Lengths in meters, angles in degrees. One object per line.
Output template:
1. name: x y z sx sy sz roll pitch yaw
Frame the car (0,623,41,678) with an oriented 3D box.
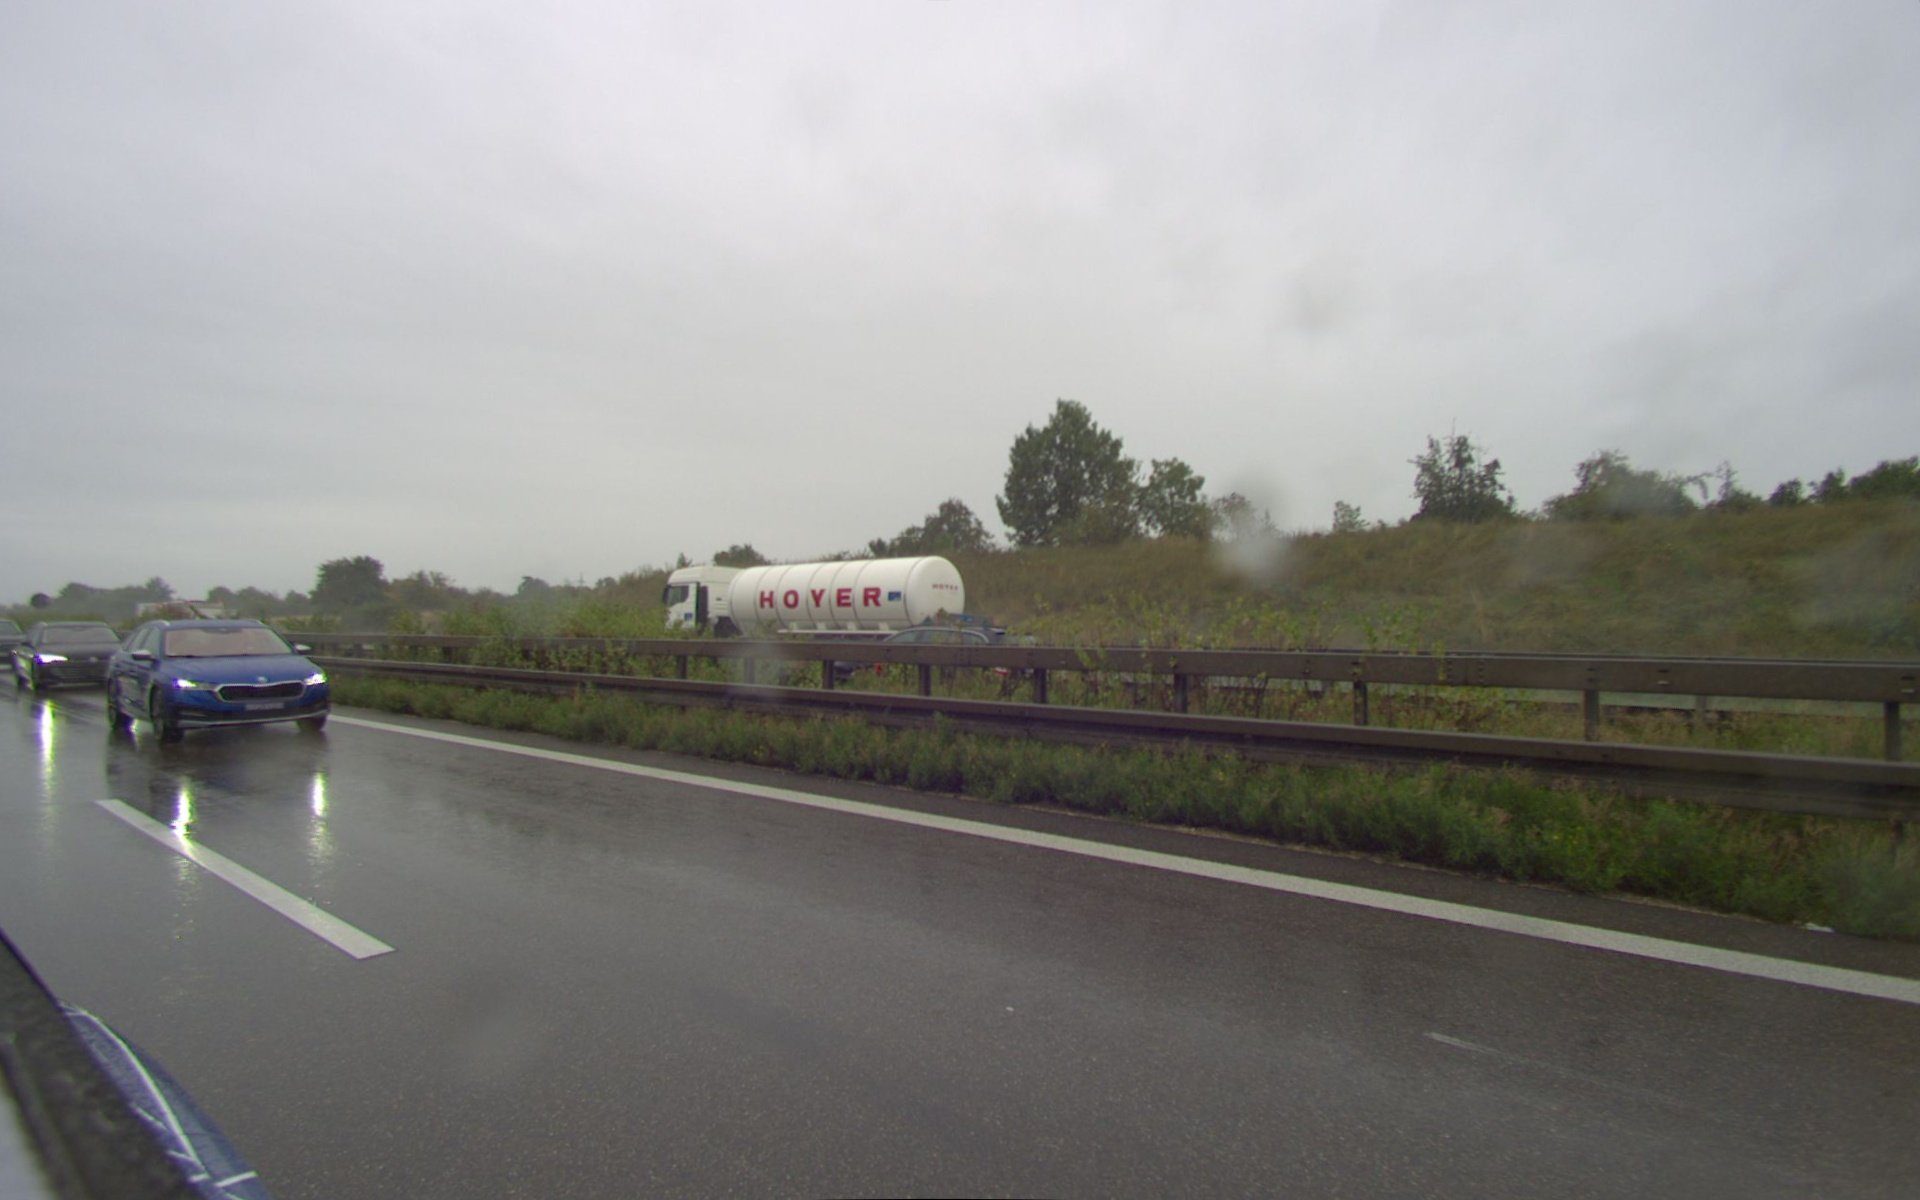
1. car: -30.858 1.590 32.218 4.266 1.644 1.865 -2 -1 41

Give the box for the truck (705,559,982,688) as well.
1. truck: -3.752 0.627 30.172 9.344 3.323 2.528 0 -2 41

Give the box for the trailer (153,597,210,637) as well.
1. trailer: -63.076 1.428 81.944 8.866 3.105 1.973 -2 -1 41

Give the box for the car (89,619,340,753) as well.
1. car: -10.075 1.028 13.537 4.509 1.487 1.768 -2 -1 41

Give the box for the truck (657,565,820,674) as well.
1. truck: -7.334 0.639 33.288 5.194 3.305 2.515 0 -2 40

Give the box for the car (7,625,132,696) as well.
1. car: -20.429 1.319 23.162 4.368 1.447 1.592 -2 -1 41

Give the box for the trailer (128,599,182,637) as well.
1. trailer: -70.019 1.605 87.988 9.549 3.105 1.973 -2 -1 41
